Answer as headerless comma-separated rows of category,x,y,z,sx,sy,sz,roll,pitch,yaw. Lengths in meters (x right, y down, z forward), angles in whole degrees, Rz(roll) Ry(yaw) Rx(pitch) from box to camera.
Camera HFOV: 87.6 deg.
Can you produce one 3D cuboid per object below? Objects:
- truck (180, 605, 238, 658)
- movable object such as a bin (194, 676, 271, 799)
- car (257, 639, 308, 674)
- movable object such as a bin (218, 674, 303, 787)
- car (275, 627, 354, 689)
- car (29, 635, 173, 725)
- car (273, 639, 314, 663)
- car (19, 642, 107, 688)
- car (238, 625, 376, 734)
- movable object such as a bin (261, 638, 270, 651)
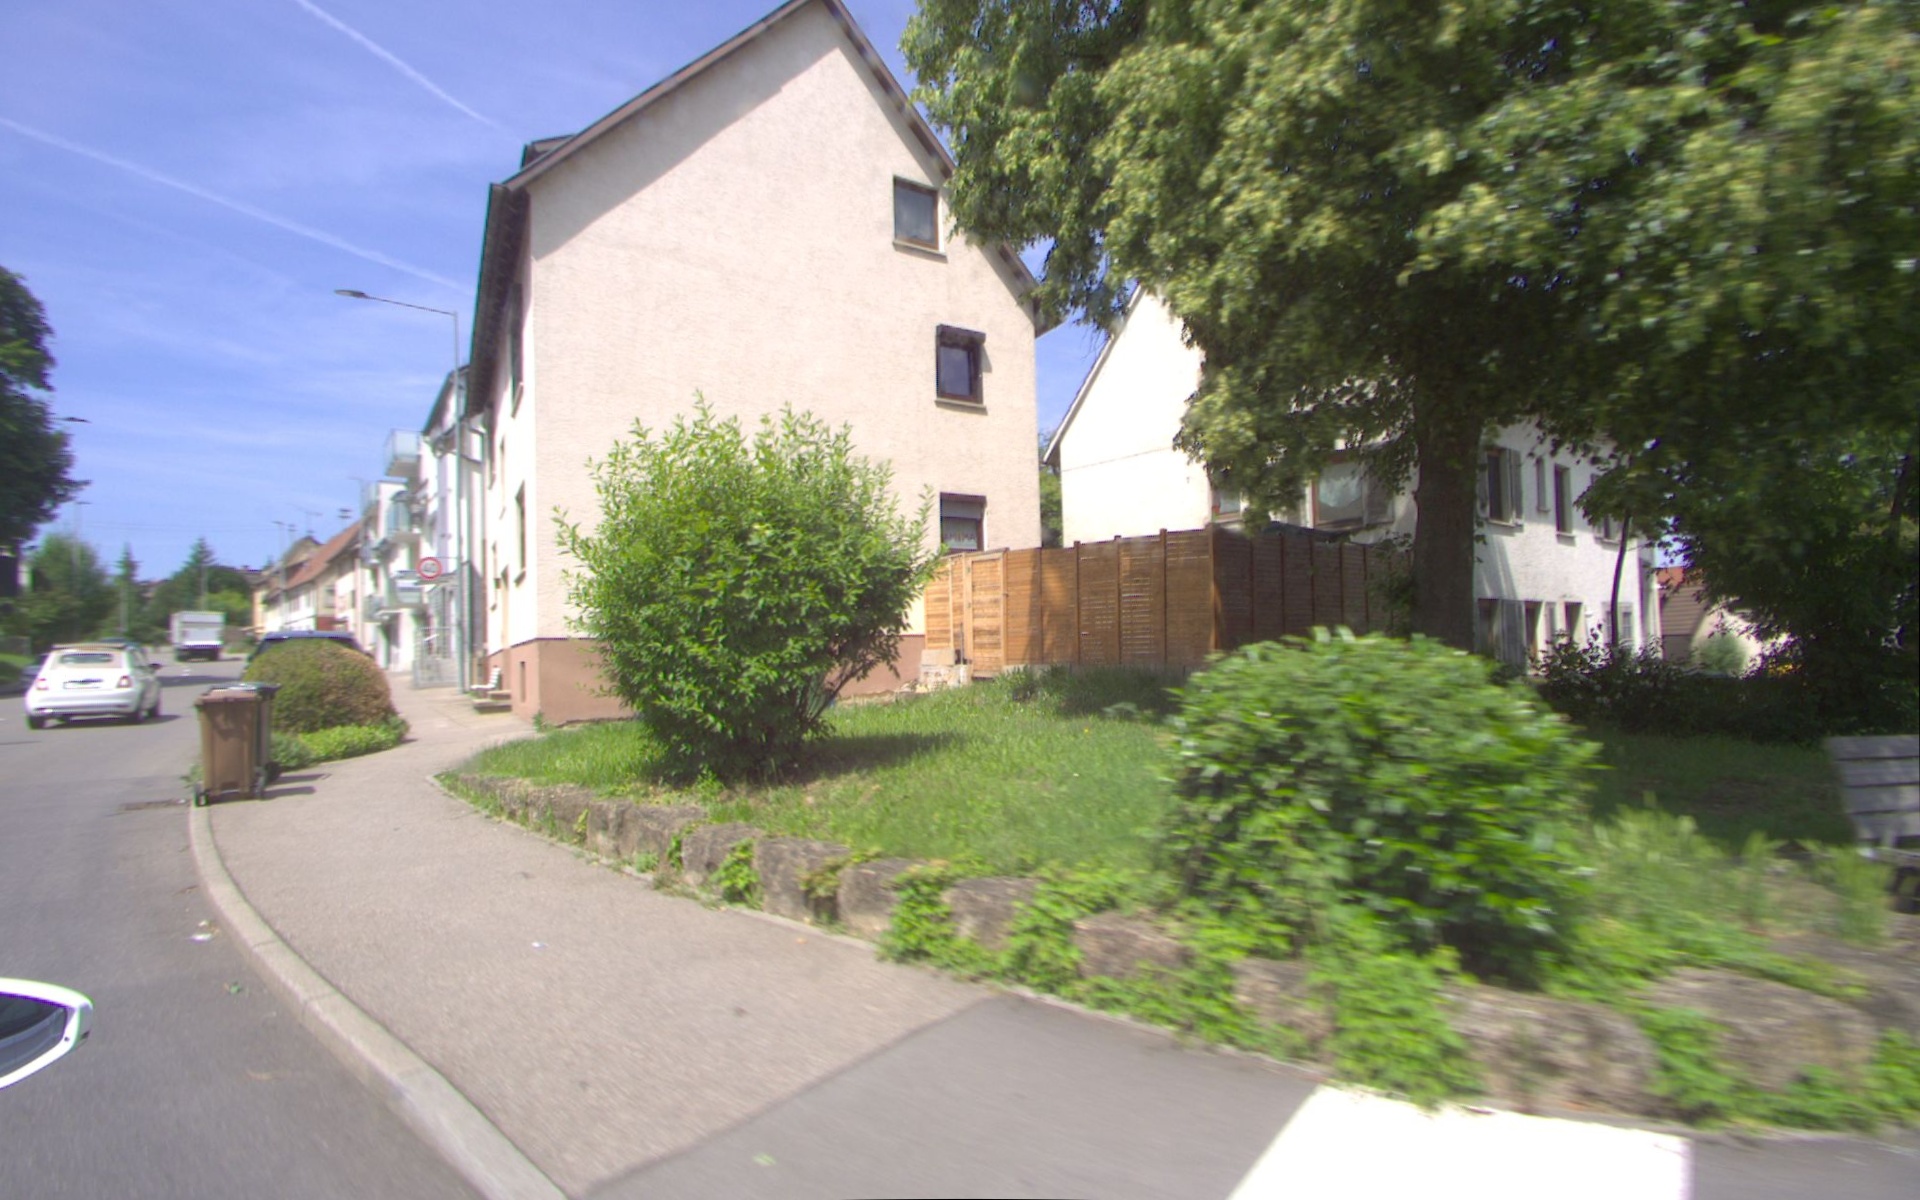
truck,-57.677,2.460,76.801,3.045,3.822,7.803,0,-2,-40
movable object such as a bin,-6.324,1.173,8.706,0.496,1.006,0.499,1,-2,-41
car,-30.405,2.498,44.992,1.779,1.443,4.264,-1,-2,-34
movable object such as a bin,-6.599,1.215,9.472,0.517,1.006,0.501,1,-1,-19
car,-20.645,1.796,31.986,1.934,1.738,4.687,-2,0,-34
car,-16.897,1.506,19.879,1.708,1.580,3.976,0,-2,-34
car,-40.856,3.108,61.317,1.653,1.370,4.152,1,-2,-40
car,-33.181,2.361,37.141,1.737,1.486,4.337,-2,-1,-33
car,-11.628,1.359,17.992,1.824,1.690,4.631,1,-3,-32
movable object such as a bin,-59.891,3.835,86.305,0.542,1.047,0.546,-4,2,-42
